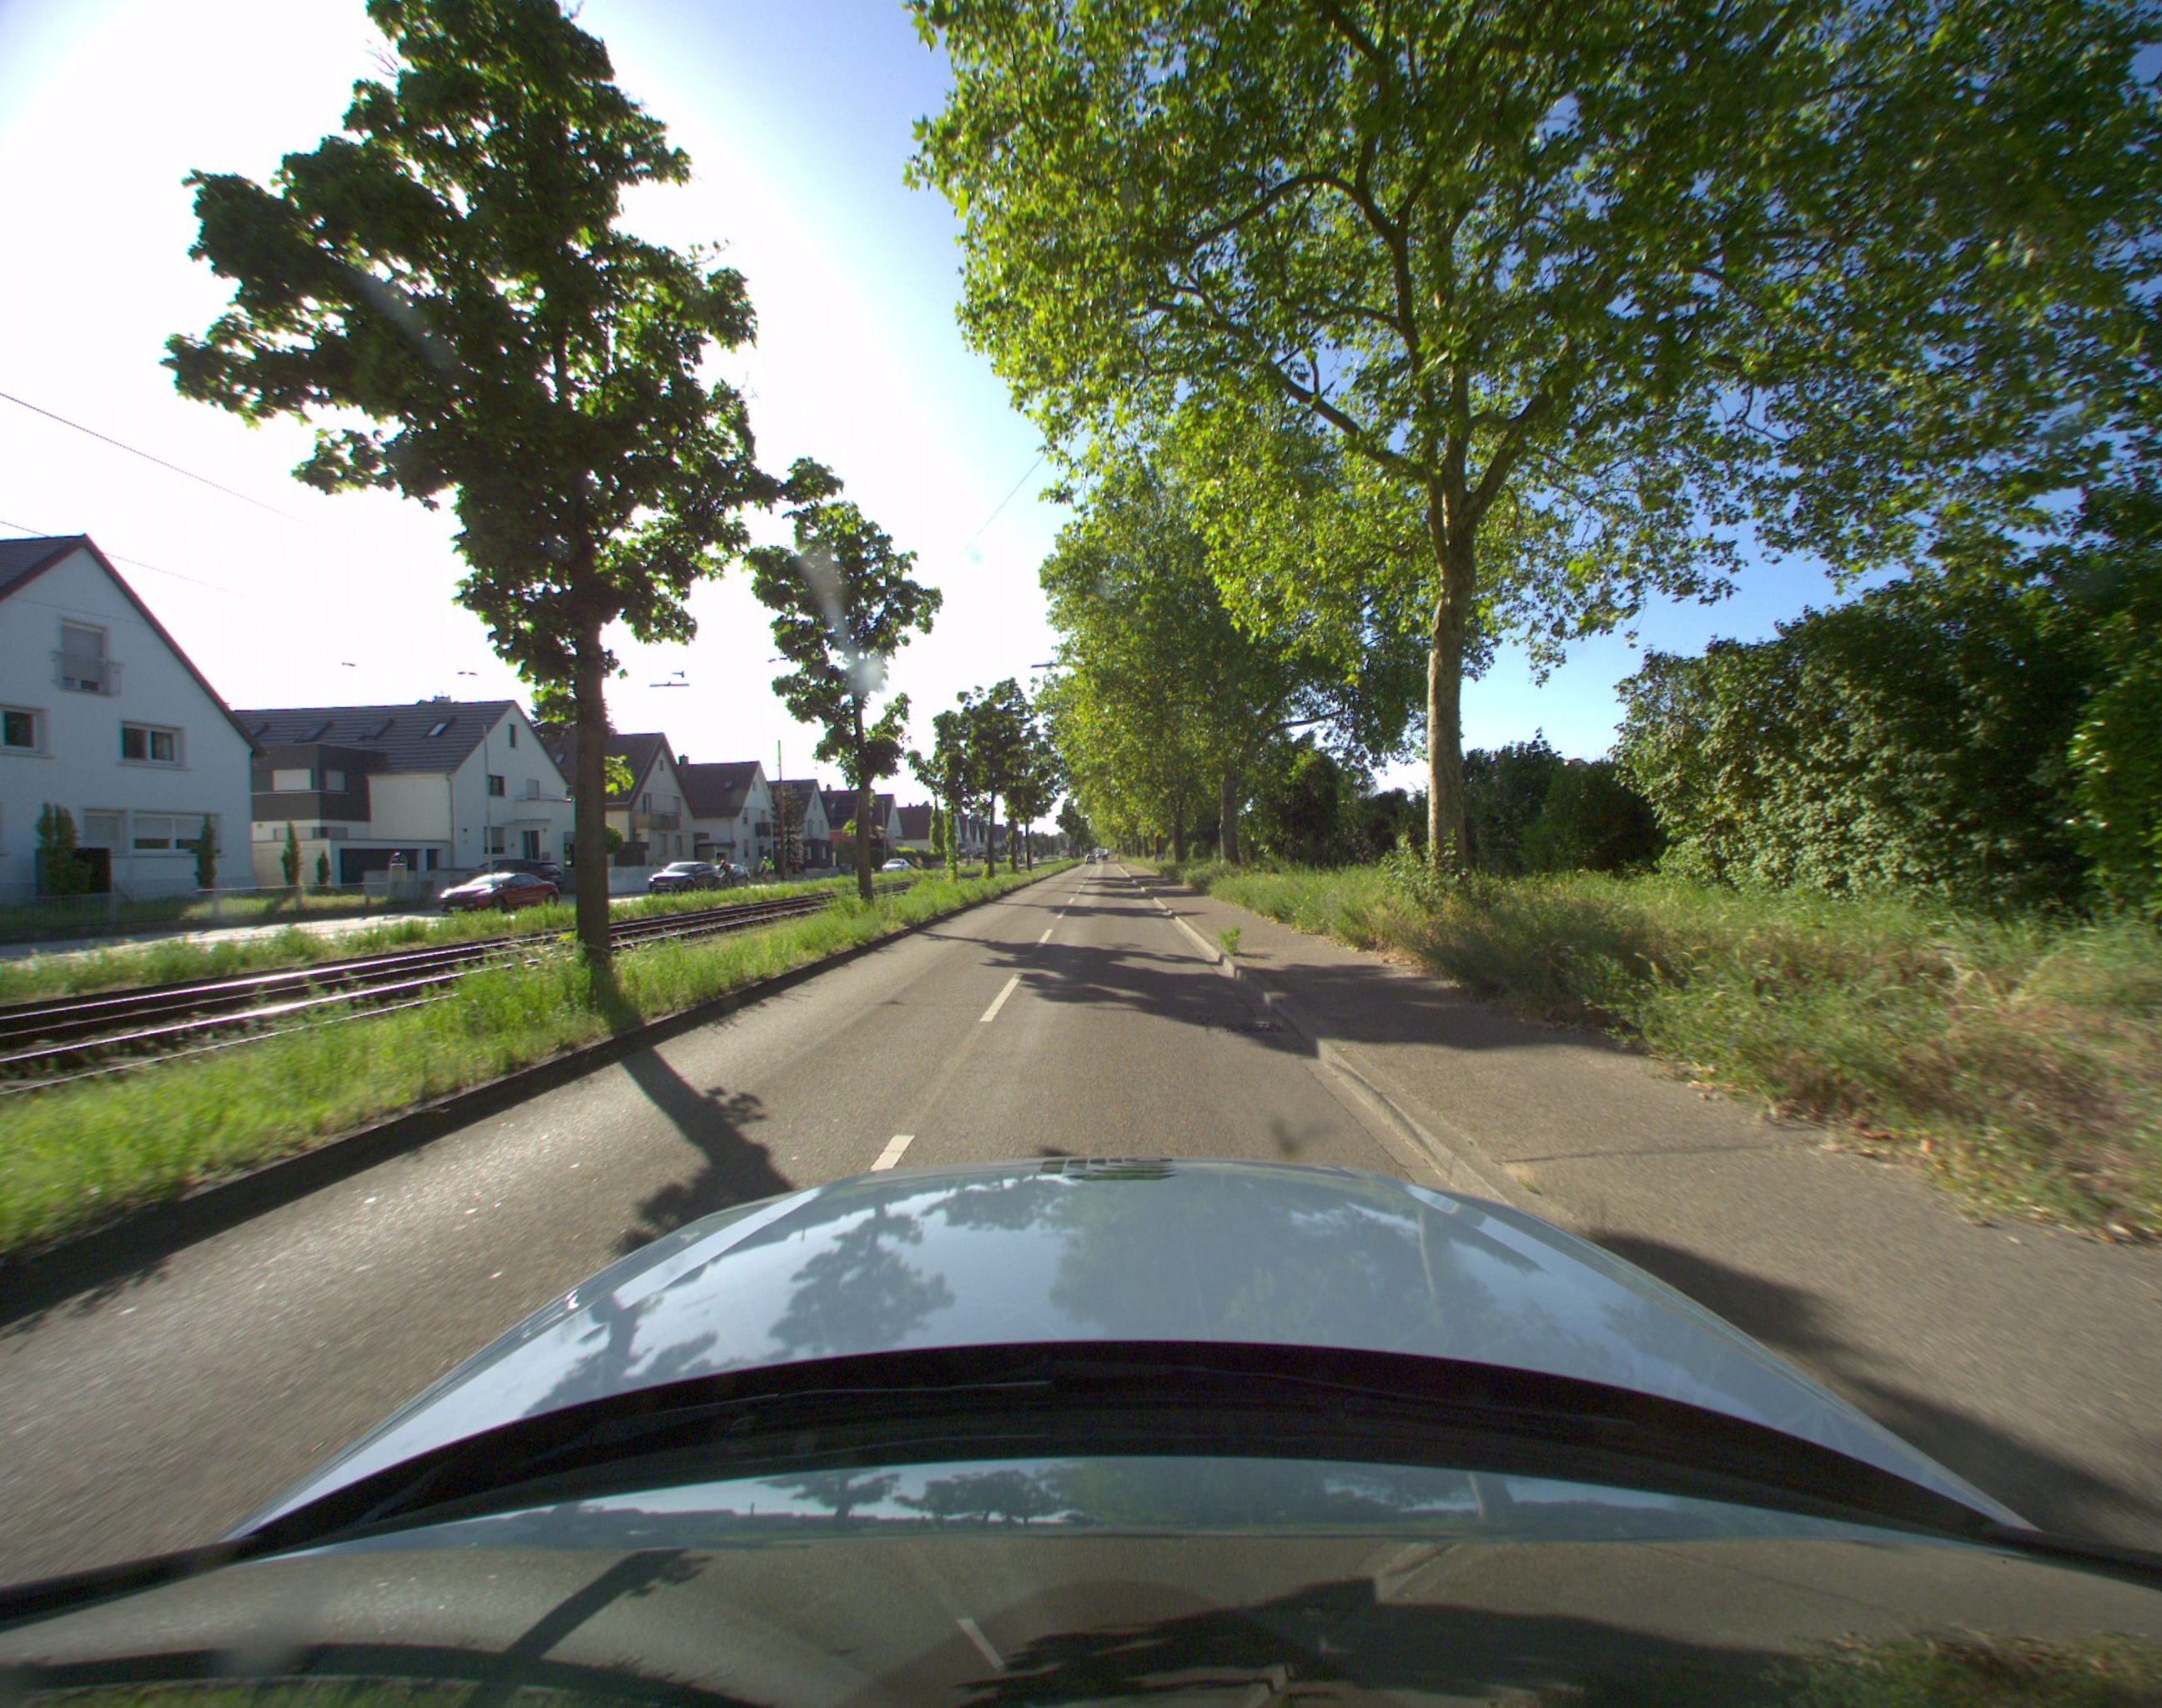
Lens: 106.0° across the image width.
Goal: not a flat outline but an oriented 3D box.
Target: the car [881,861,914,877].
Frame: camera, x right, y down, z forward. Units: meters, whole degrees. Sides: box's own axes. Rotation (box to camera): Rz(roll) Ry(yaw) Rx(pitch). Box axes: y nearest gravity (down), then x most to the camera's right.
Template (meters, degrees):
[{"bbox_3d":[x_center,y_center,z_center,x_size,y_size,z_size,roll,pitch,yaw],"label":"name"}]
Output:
[{"bbox_3d":[-18.994,1.498,84.611,1.984,1.599,4.738,-1,-1,5],"label":"car"}]

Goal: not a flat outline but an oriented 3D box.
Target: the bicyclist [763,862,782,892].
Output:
[{"bbox_3d":[-17.638,1.298,46.538,0.686,1.652,0.882,-2,0,1],"label":"bicyclist"}]

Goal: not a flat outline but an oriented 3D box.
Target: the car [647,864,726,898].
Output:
[{"bbox_3d":[-19.818,1.310,41.116,1.637,1.568,4.389,-1,-1,3],"label":"car"}]

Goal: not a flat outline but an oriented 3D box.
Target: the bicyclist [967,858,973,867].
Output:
[{"bbox_3d":[-15.547,1.233,113.966,0.796,1.278,0.736,0,-1,-3],"label":"bicyclist"}]

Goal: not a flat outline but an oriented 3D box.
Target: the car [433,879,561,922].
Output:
[{"bbox_3d":[-20.477,1.582,28.786,1.487,1.326,4.003,-1,-1,3],"label":"car"}]

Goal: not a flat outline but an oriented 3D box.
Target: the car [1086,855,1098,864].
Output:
[{"bbox_3d":[1.675,0.809,125.055,1.732,1.401,3.277,-1,-1,1],"label":"car"}]

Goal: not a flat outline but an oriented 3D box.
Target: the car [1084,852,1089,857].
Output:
[{"bbox_3d":[1.828,0.145,257.799,1.521,1.455,3.289,-1,-1,3],"label":"car"}]

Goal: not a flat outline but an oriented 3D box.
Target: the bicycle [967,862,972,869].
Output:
[{"bbox_3d":[-15.557,1.609,113.909,0.440,0.901,2.059,0,-1,-3],"label":"bicycle"}]

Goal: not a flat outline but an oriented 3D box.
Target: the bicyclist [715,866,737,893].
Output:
[{"bbox_3d":[-17.775,1.279,40.806,0.686,1.337,0.882,-2,0,1],"label":"bicyclist"}]

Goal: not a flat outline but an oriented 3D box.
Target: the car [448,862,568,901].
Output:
[{"bbox_3d":[-25.847,1.211,36.854,3.977,1.669,1.998,-1,-1,-3],"label":"car"}]

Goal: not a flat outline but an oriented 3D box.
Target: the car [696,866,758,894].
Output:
[{"bbox_3d":[-19.643,1.422,45.379,1.608,1.451,3.990,-1,-1,2],"label":"car"}]

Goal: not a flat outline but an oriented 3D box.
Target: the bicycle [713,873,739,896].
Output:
[{"bbox_3d":[-17.720,1.493,40.686,0.397,1.070,1.881,-2,0,2],"label":"bicycle"}]

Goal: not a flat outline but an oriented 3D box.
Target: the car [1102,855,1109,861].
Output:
[{"bbox_3d":[5.765,0.939,192.539,1.754,1.513,3.278,-1,-1,2],"label":"car"}]

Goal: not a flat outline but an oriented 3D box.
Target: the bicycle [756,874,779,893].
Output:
[{"bbox_3d":[-17.547,1.640,45.650,0.397,0.927,2.097,-2,0,2],"label":"bicycle"}]
